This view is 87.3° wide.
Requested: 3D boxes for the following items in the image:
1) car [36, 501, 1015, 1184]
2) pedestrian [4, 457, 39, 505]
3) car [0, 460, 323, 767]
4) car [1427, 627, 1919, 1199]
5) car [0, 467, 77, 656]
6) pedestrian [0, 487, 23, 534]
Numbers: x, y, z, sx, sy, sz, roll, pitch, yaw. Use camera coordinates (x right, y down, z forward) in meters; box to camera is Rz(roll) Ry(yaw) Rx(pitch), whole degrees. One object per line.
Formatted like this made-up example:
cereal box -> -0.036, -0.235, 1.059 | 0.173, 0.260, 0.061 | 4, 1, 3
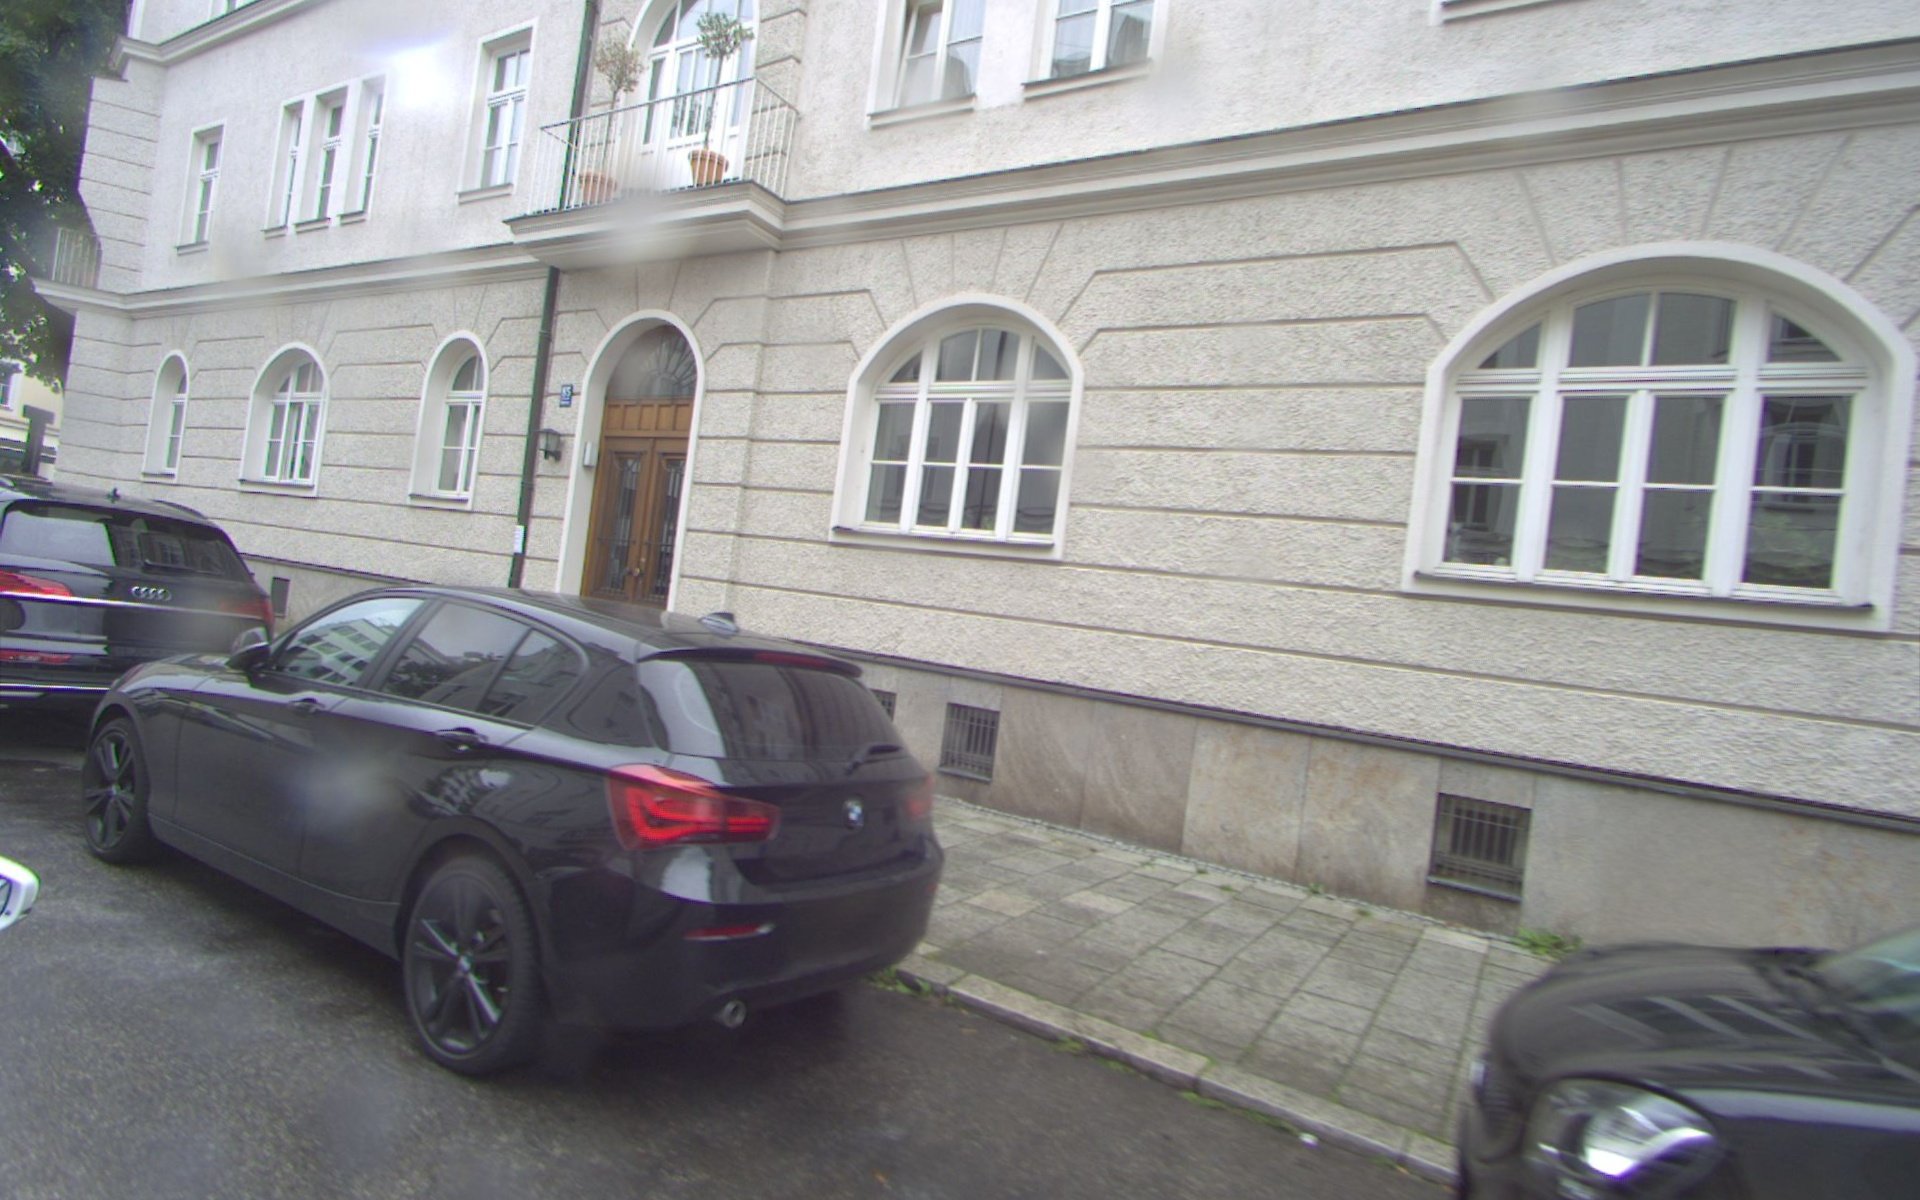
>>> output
car -> -2.053, 0.571, 4.321 | 4.132, 1.488, 1.709 | 7, -1, 32
pedestrian -> -33.734, -4.268, 36.154 | 0.567, 1.592, 0.554 | 7, -2, 20
car -> -6.662, -0.063, 7.128 | 4.302, 1.654, 1.781 | 7, -2, 32
car -> 2.683, 1.093, 1.425 | 3.574, 1.543, 1.659 | 7, -2, 29
car -> -10.980, -0.624, 10.007 | 4.350, 1.733, 1.794 | 7, -1, 28
pedestrian -> -33.559, -3.148, 35.440 | 0.525, 1.569, 0.434 | 7, 0, 2
